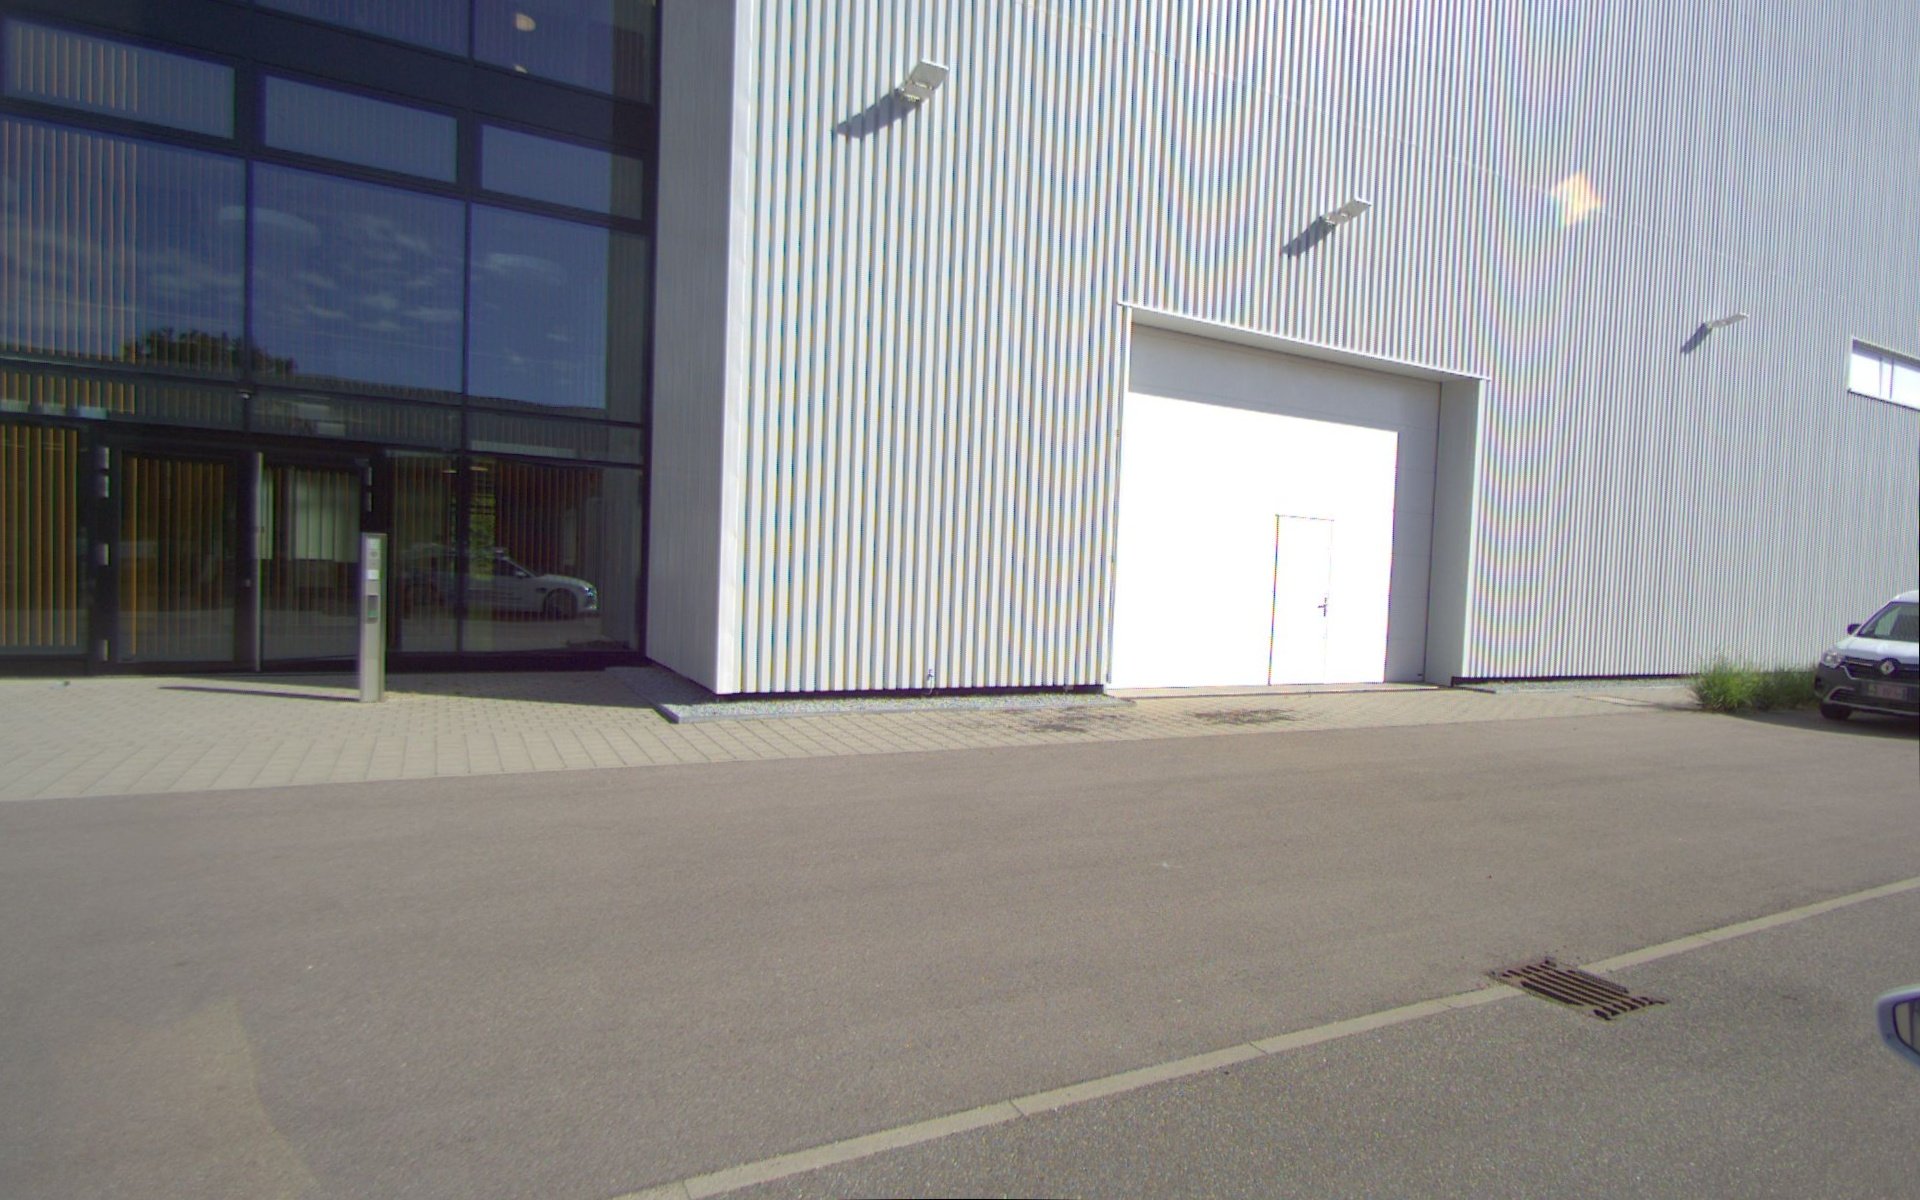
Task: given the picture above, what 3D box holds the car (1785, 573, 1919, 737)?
[{"bbox_3d":[13.082,0.704,13.207,4.305,1.870,1.882,1,4,-29],"label":"car"}]
